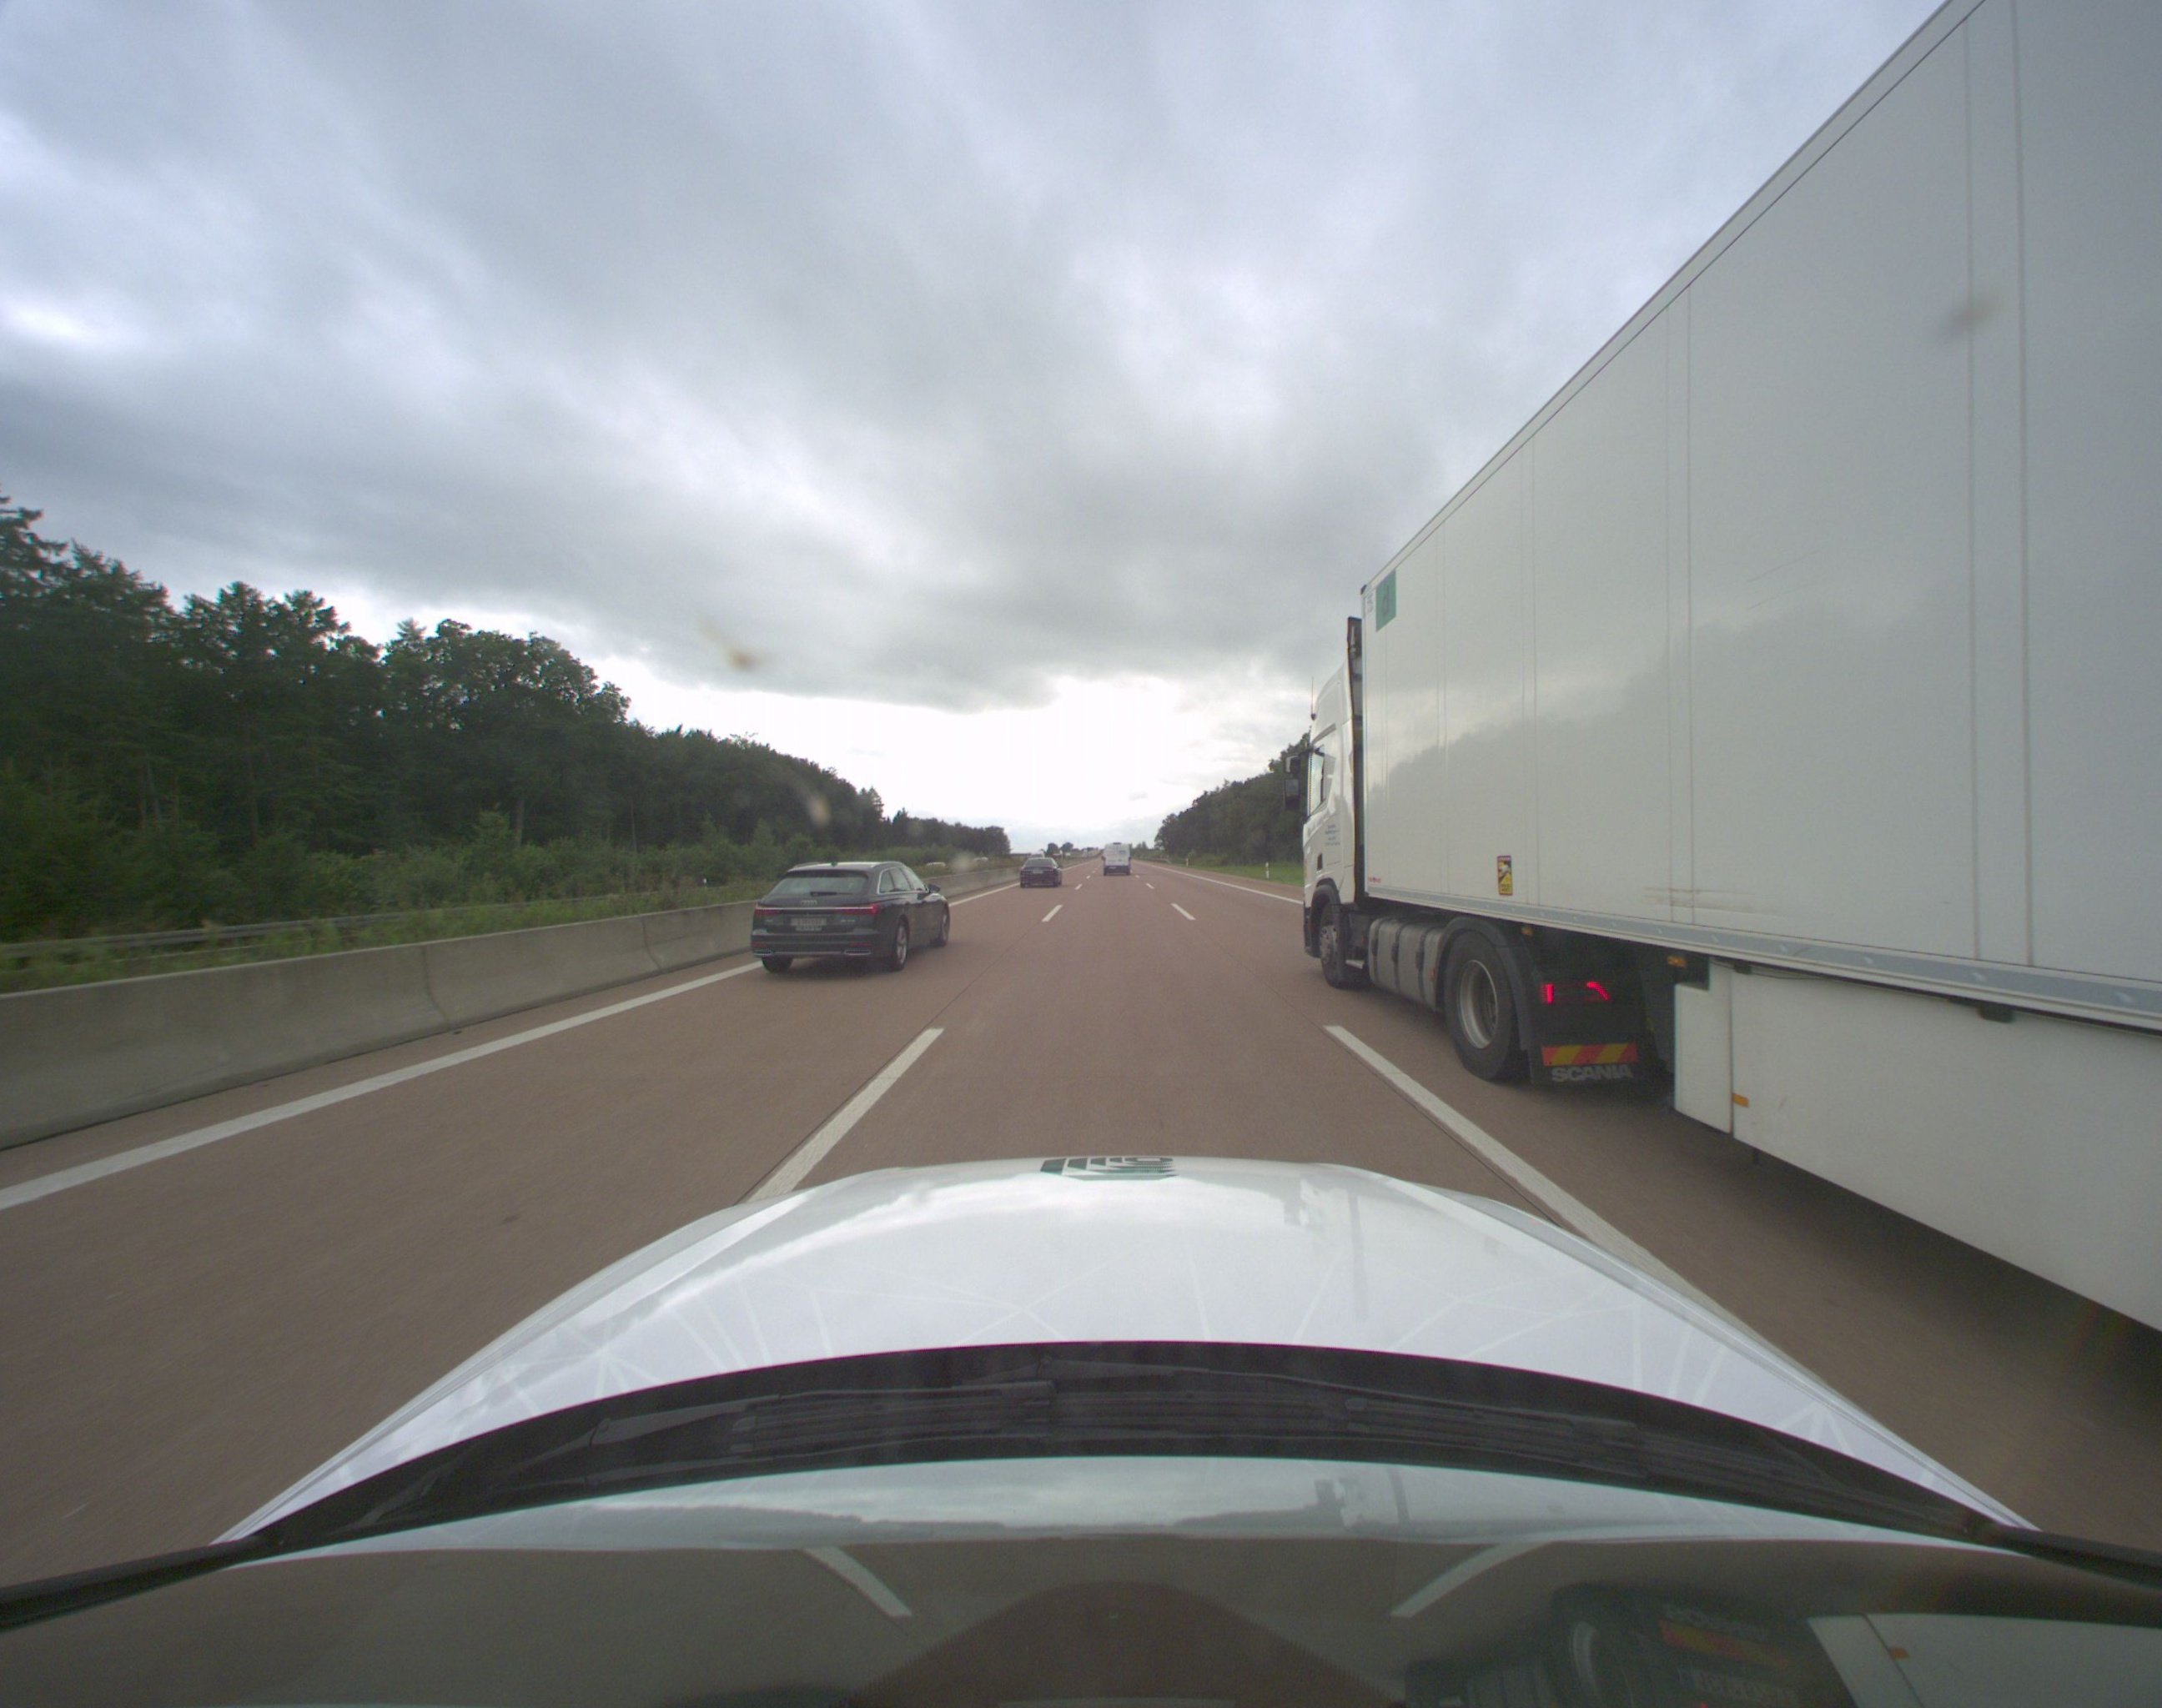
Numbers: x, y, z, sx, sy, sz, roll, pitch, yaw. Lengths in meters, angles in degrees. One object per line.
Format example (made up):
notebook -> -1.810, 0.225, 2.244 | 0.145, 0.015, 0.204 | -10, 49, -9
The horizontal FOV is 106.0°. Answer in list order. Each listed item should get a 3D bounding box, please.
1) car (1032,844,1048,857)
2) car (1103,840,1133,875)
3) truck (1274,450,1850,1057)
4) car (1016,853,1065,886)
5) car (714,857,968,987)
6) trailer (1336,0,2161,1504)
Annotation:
car -> -6.794, -0.535, 134.951 | 2.064, 2.141, 7.492 | 0, 0, 2
car -> 2.861, 0.215, 63.403 | 2.129, 2.507, 7.136 | -1, 0, 2
truck -> 4.057, -0.716, 8.491 | 2.910, 4.294, 5.336 | -1, 0, 1
car -> -1.984, 0.722, 41.421 | 2.077, 1.550, 5.676 | 0, 0, 1
car -> -3.253, 0.823, 12.455 | 2.051, 1.491, 5.456 | -1, 0, 2
trailer -> 3.864, -0.693, 1.382 | 2.910, 4.294, 13.618 | -1, 0, 2
